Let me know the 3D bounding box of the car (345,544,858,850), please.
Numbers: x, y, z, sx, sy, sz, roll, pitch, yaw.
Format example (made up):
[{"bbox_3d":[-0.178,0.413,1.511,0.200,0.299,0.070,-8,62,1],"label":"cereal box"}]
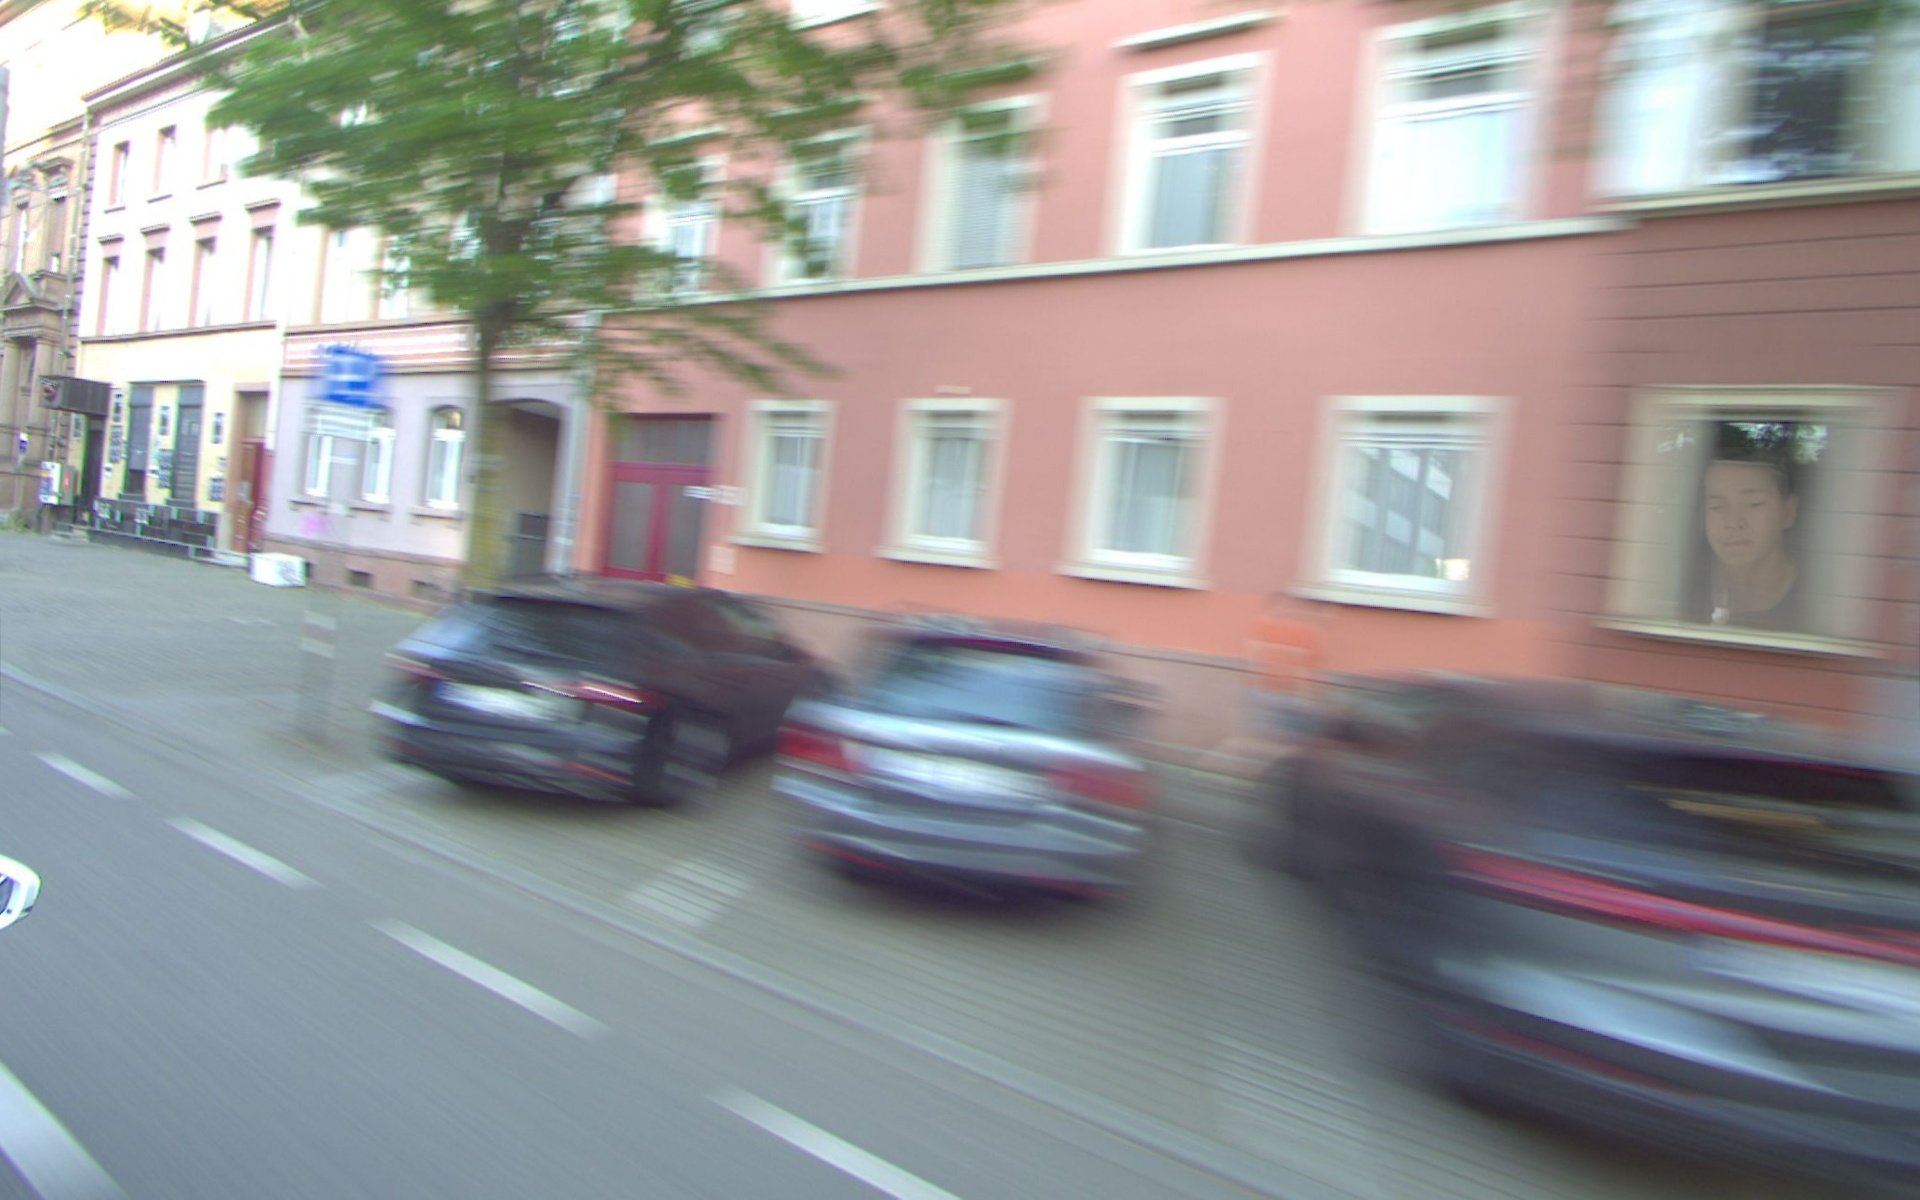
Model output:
[{"bbox_3d":[-2.232,0.498,7.793,1.678,1.476,4.618,7,2,8],"label":"car"}]

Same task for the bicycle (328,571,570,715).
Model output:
[{"bbox_3d":[-4.635,0.379,9.236,0.912,1.116,1.690,7,2,31],"label":"bicycle"}]

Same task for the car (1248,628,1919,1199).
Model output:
[{"bbox_3d":[2.763,1.067,4.771,2.024,1.536,4.458,7,1,9],"label":"car"}]

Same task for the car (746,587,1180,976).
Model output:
[{"bbox_3d":[0.257,0.773,6.379,1.796,1.511,3.999,5,1,8],"label":"car"}]
